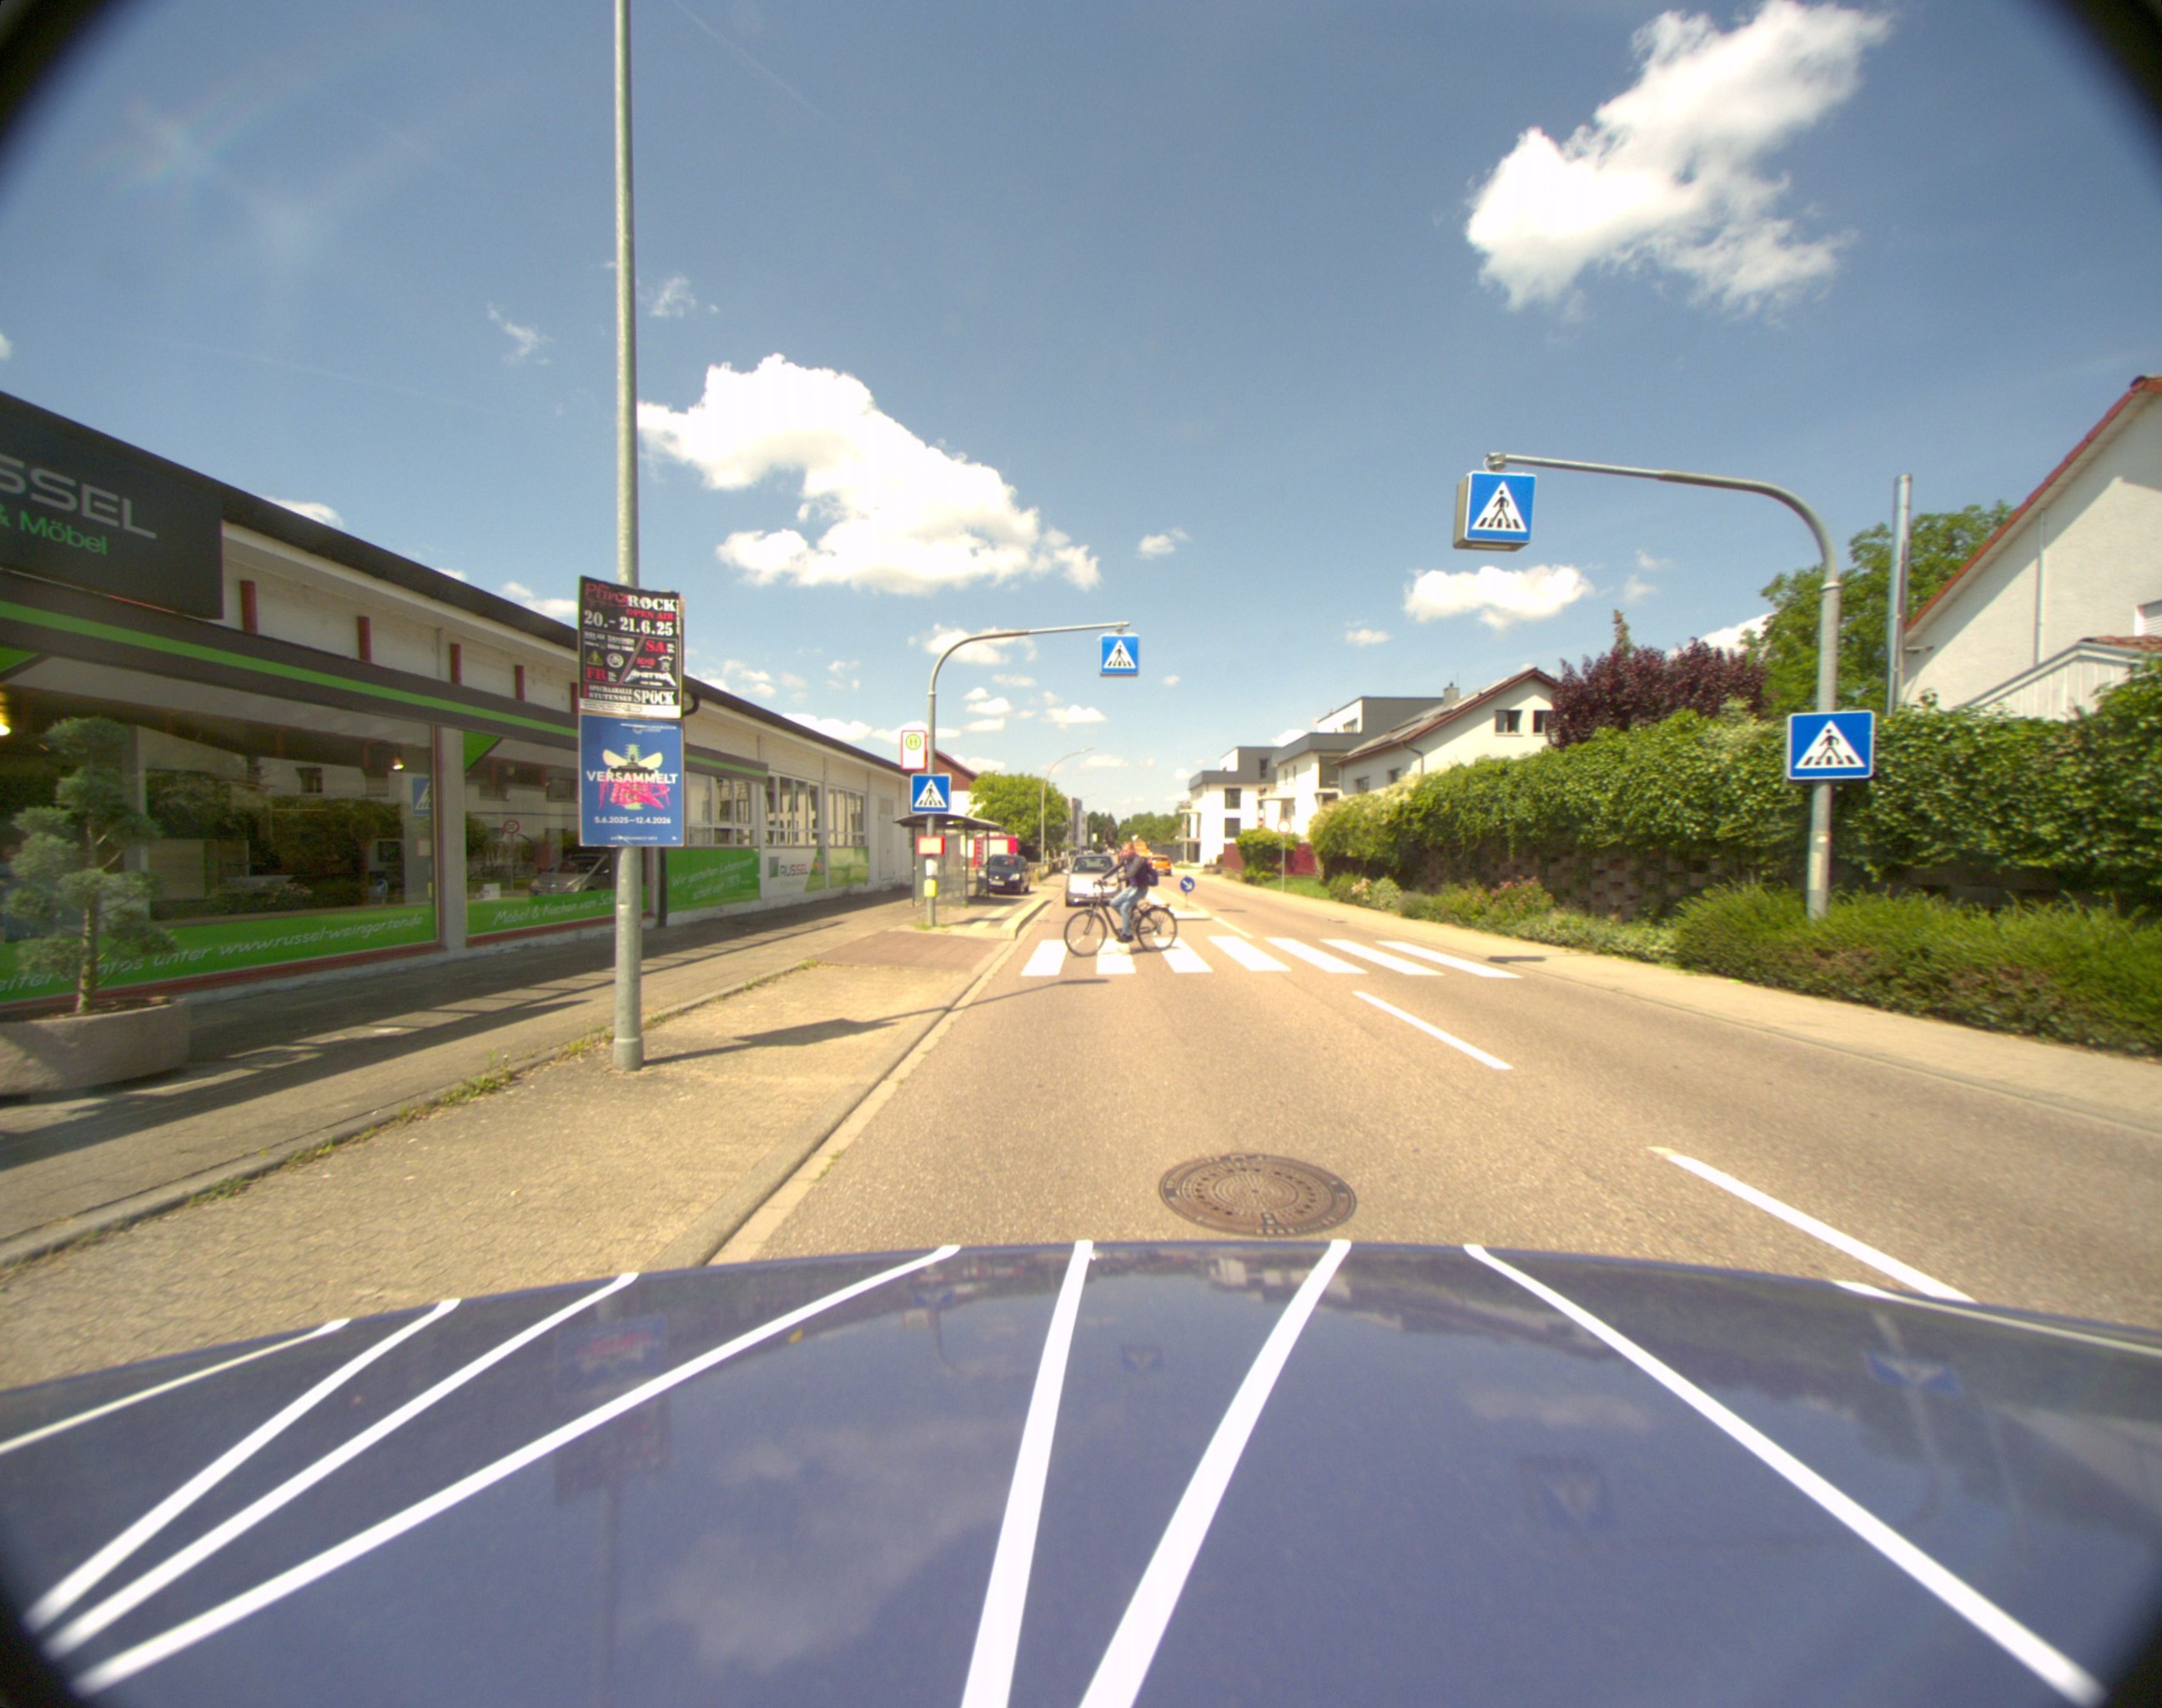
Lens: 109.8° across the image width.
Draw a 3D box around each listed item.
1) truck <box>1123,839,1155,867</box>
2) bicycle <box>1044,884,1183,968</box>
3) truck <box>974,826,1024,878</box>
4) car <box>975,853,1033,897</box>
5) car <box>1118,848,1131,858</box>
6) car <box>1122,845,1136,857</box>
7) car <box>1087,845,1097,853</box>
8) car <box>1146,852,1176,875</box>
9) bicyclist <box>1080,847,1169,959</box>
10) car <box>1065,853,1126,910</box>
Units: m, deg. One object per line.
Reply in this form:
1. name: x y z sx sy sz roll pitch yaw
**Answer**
1. truck: 5.912 -0.177 78.628 2.864 2.695 6.791 1 1 1
2. bicycle: 0.489 1.059 11.571 1.945 1.158 0.804 1 1 -20
3. truck: -4.641 -0.121 43.780 2.580 2.745 6.331 1 1 -5
4. car: -2.845 0.735 28.791 1.729 1.484 3.760 1 1 1
5. car: 6.535 -0.170 114.937 1.735 1.509 3.613 1 1 1
6. car: 6.369 -0.461 100.895 1.735 1.509 3.613 1 1 1
7. car: 2.068 -0.866 139.539 1.729 1.484 3.760 1 1 2
8. car: 5.723 0.653 54.664 1.799 1.480 3.613 1 1 1
9. bicyclist: 0.655 0.717 11.611 1.113 1.620 0.804 1 1 -20
10. car: 0.449 0.793 23.945 1.723 1.590 3.760 -2 1 1
